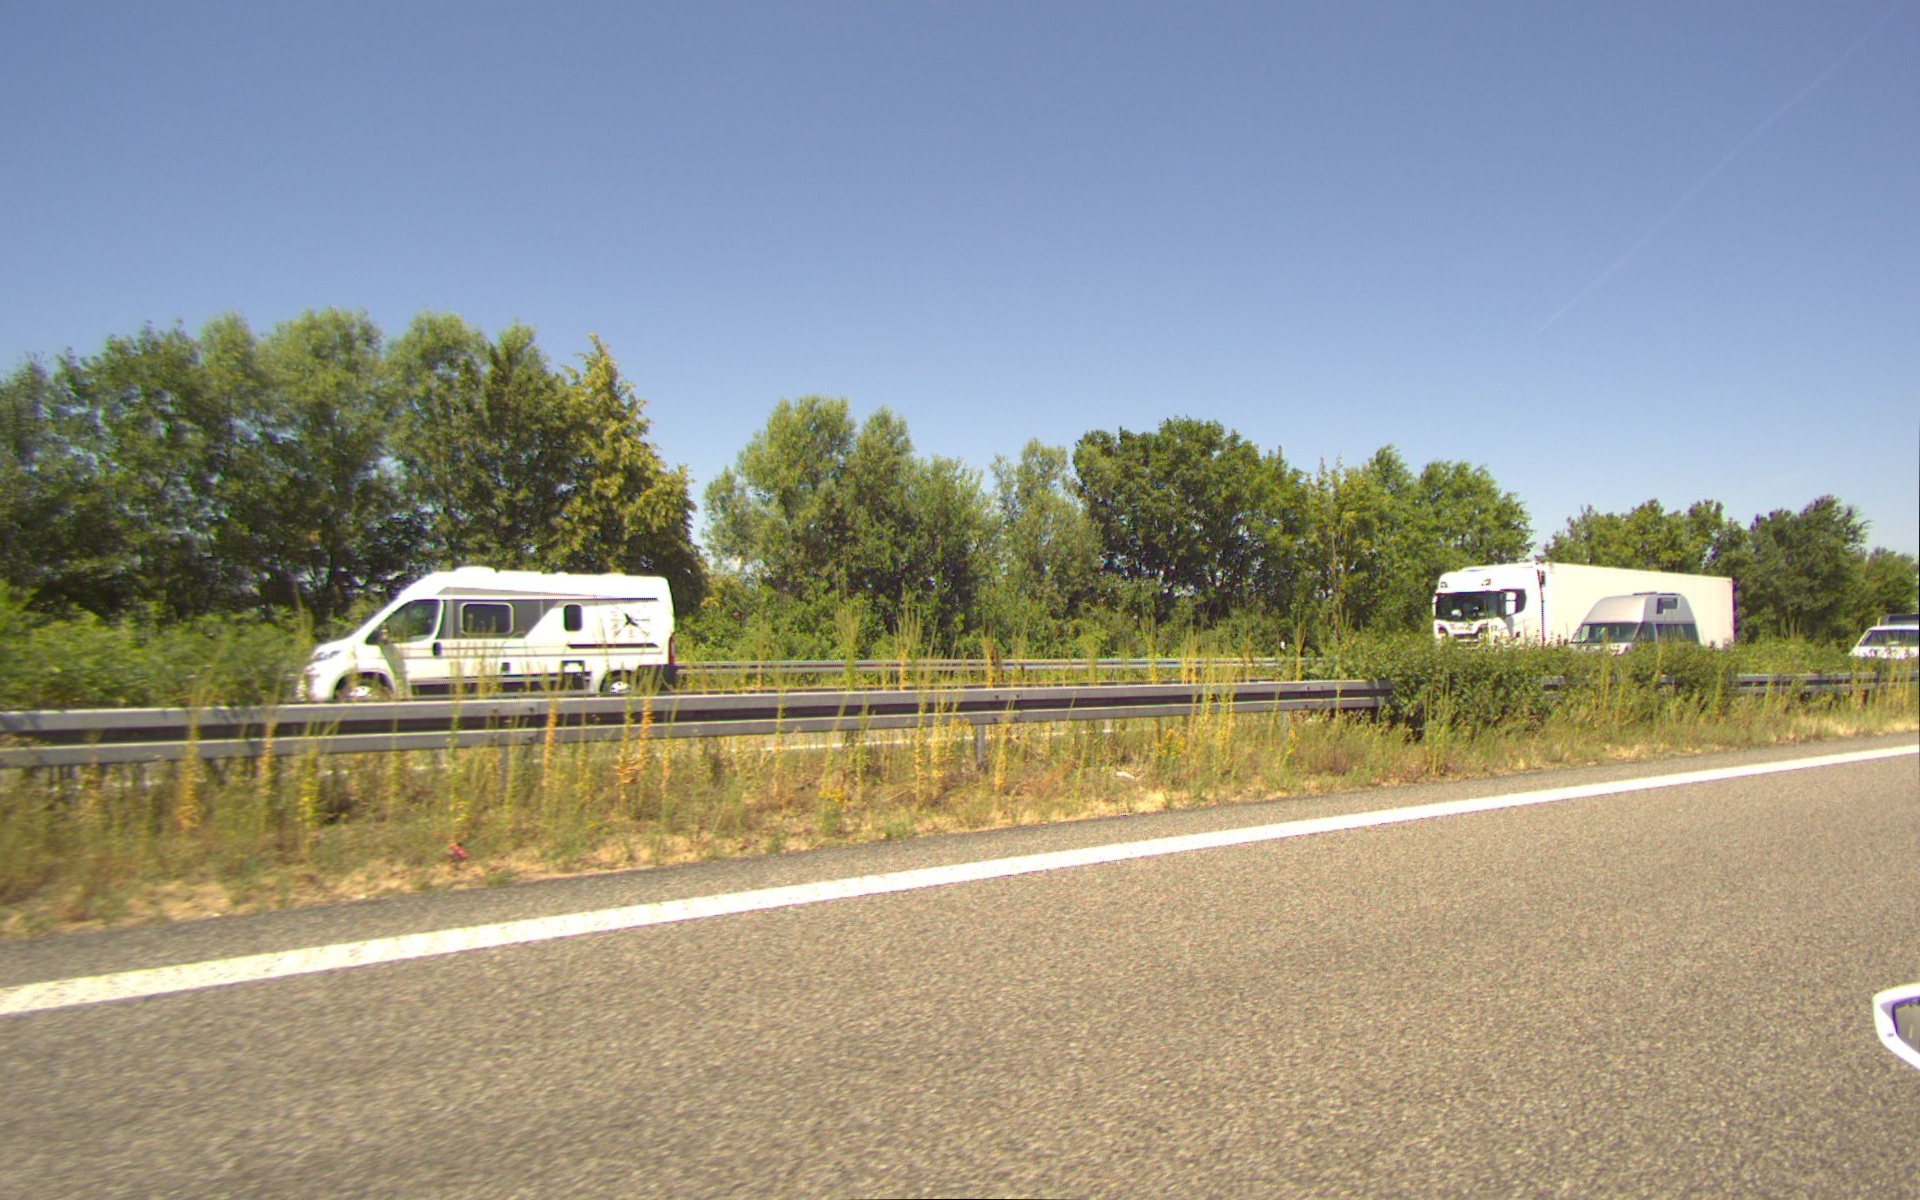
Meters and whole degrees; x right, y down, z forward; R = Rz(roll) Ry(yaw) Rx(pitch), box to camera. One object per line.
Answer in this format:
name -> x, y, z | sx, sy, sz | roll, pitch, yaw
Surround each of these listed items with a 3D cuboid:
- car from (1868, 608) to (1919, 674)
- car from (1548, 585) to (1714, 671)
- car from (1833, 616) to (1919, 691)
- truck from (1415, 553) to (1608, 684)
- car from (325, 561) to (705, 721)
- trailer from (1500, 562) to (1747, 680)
car -> 43.631, 1.845, 45.279 | 6.535, 2.859, 2.316 | 1, -2, -32
car -> 20.219, 0.854, 30.219 | 5.239, 2.393, 2.198 | 1, -2, -32
car -> 29.200, 1.599, 31.022 | 5.219, 2.148, 1.915 | 1, -1, -32
truck -> 19.317, 0.598, 35.107 | 6.450, 4.167, 3.056 | 0, 1, -31
car -> -7.843, 0.719, 18.097 | 5.946, 2.496, 2.093 | 1, -2, -31
trailer -> 26.070, 0.775, 39.134 | 12.090, 4.093, 3.032 | 0, 0, -31
